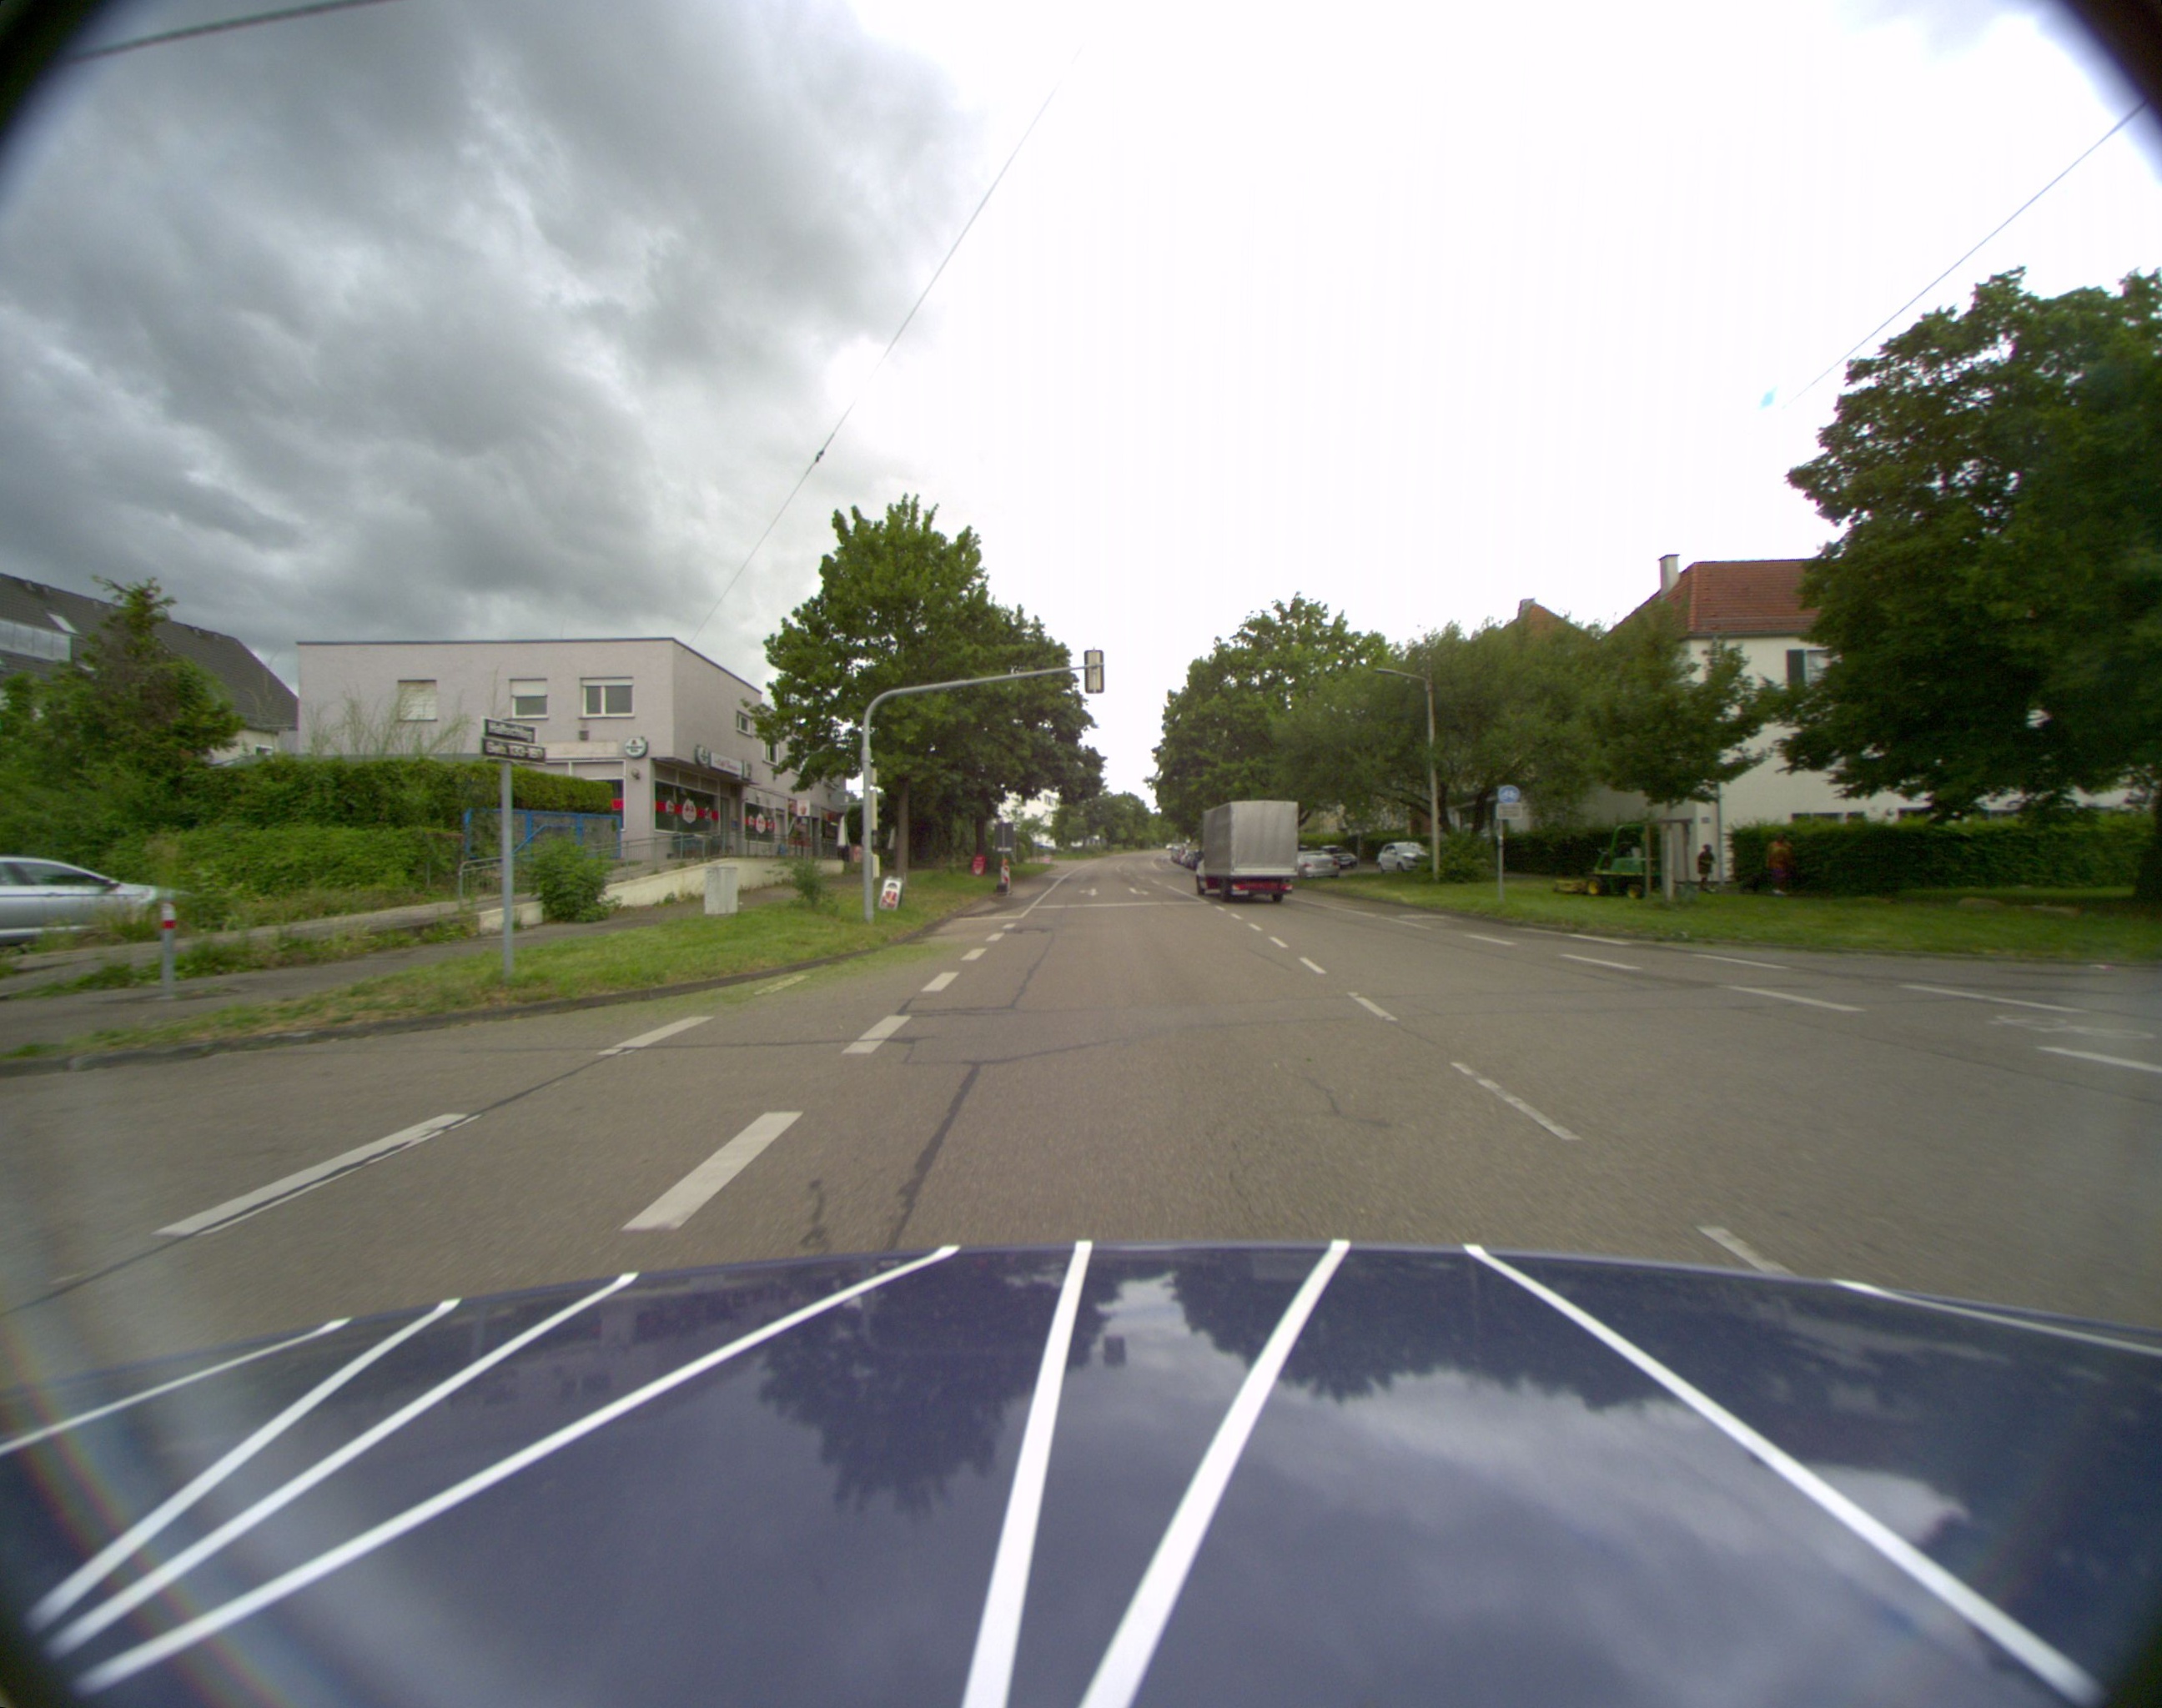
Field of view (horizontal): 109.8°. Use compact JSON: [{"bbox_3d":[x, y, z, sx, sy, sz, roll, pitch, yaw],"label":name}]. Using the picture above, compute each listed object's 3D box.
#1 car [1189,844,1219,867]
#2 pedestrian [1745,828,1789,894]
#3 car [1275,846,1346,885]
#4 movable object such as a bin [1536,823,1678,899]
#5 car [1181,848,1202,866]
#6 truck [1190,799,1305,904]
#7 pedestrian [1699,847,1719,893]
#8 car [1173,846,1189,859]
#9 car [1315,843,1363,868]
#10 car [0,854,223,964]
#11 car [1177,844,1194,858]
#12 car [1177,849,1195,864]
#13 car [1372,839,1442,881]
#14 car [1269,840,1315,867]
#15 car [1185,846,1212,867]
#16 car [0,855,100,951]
[{"bbox_3d":[9.556,0.102,59.274,1.998,1.674,4.001,-2,1,5],"label":"car"},{"bbox_3d":[18.751,0.190,20.781,0.778,1.747,0.688,-3,1,-32],"label":"pedestrian"},{"bbox_3d":[10.893,0.508,36.401,1.998,1.666,4.545,-2,1,0],"label":"car"},{"bbox_3d":[14.279,0.161,20.827,1.099,1.892,3.246,-2,1,-14],"label":"movable object such as a bin"},{"bbox_3d":[10.304,0.233,70.990,1.716,1.543,3.679,-2,1,5],"label":"car"},{"bbox_3d":[5.678,-0.111,27.086,2.372,3.219,7.215,-1,1,-1],"label":"truck"},{"bbox_3d":[17.713,0.450,21.432,0.358,1.264,0.360,0,1,23],"label":"pedestrian"},{"bbox_3d":[11.408,-0.217,87.107,1.621,1.389,3.679,-2,1,5],"label":"car"},{"bbox_3d":[16.063,0.051,47.531,1.680,1.423,3.872,-2,1,1],"label":"car"},{"bbox_3d":[-15.668,0.790,10.675,1.999,1.455,4.610,-2,1,-2],"label":"car"},{"bbox_3d":[11.187,-0.344,81.811,1.621,1.389,3.679,-2,1,5],"label":"car"},{"bbox_3d":[10.508,0.223,76.333,1.621,1.389,3.679,-2,1,5],"label":"car"},{"bbox_3d":[15.915,0.255,37.325,1.755,1.879,4.000,-2,1,1],"label":"car"},{"bbox_3d":[13.522,-0.057,48.820,1.860,1.596,4.000,-2,1,1],"label":"car"},{"bbox_3d":[9.978,0.192,64.665,1.998,1.674,4.001,-2,1,5],"label":"car"},{"bbox_3d":[-18.348,0.842,11.110,1.999,1.524,4.610,-2,1,-2],"label":"car"}]
